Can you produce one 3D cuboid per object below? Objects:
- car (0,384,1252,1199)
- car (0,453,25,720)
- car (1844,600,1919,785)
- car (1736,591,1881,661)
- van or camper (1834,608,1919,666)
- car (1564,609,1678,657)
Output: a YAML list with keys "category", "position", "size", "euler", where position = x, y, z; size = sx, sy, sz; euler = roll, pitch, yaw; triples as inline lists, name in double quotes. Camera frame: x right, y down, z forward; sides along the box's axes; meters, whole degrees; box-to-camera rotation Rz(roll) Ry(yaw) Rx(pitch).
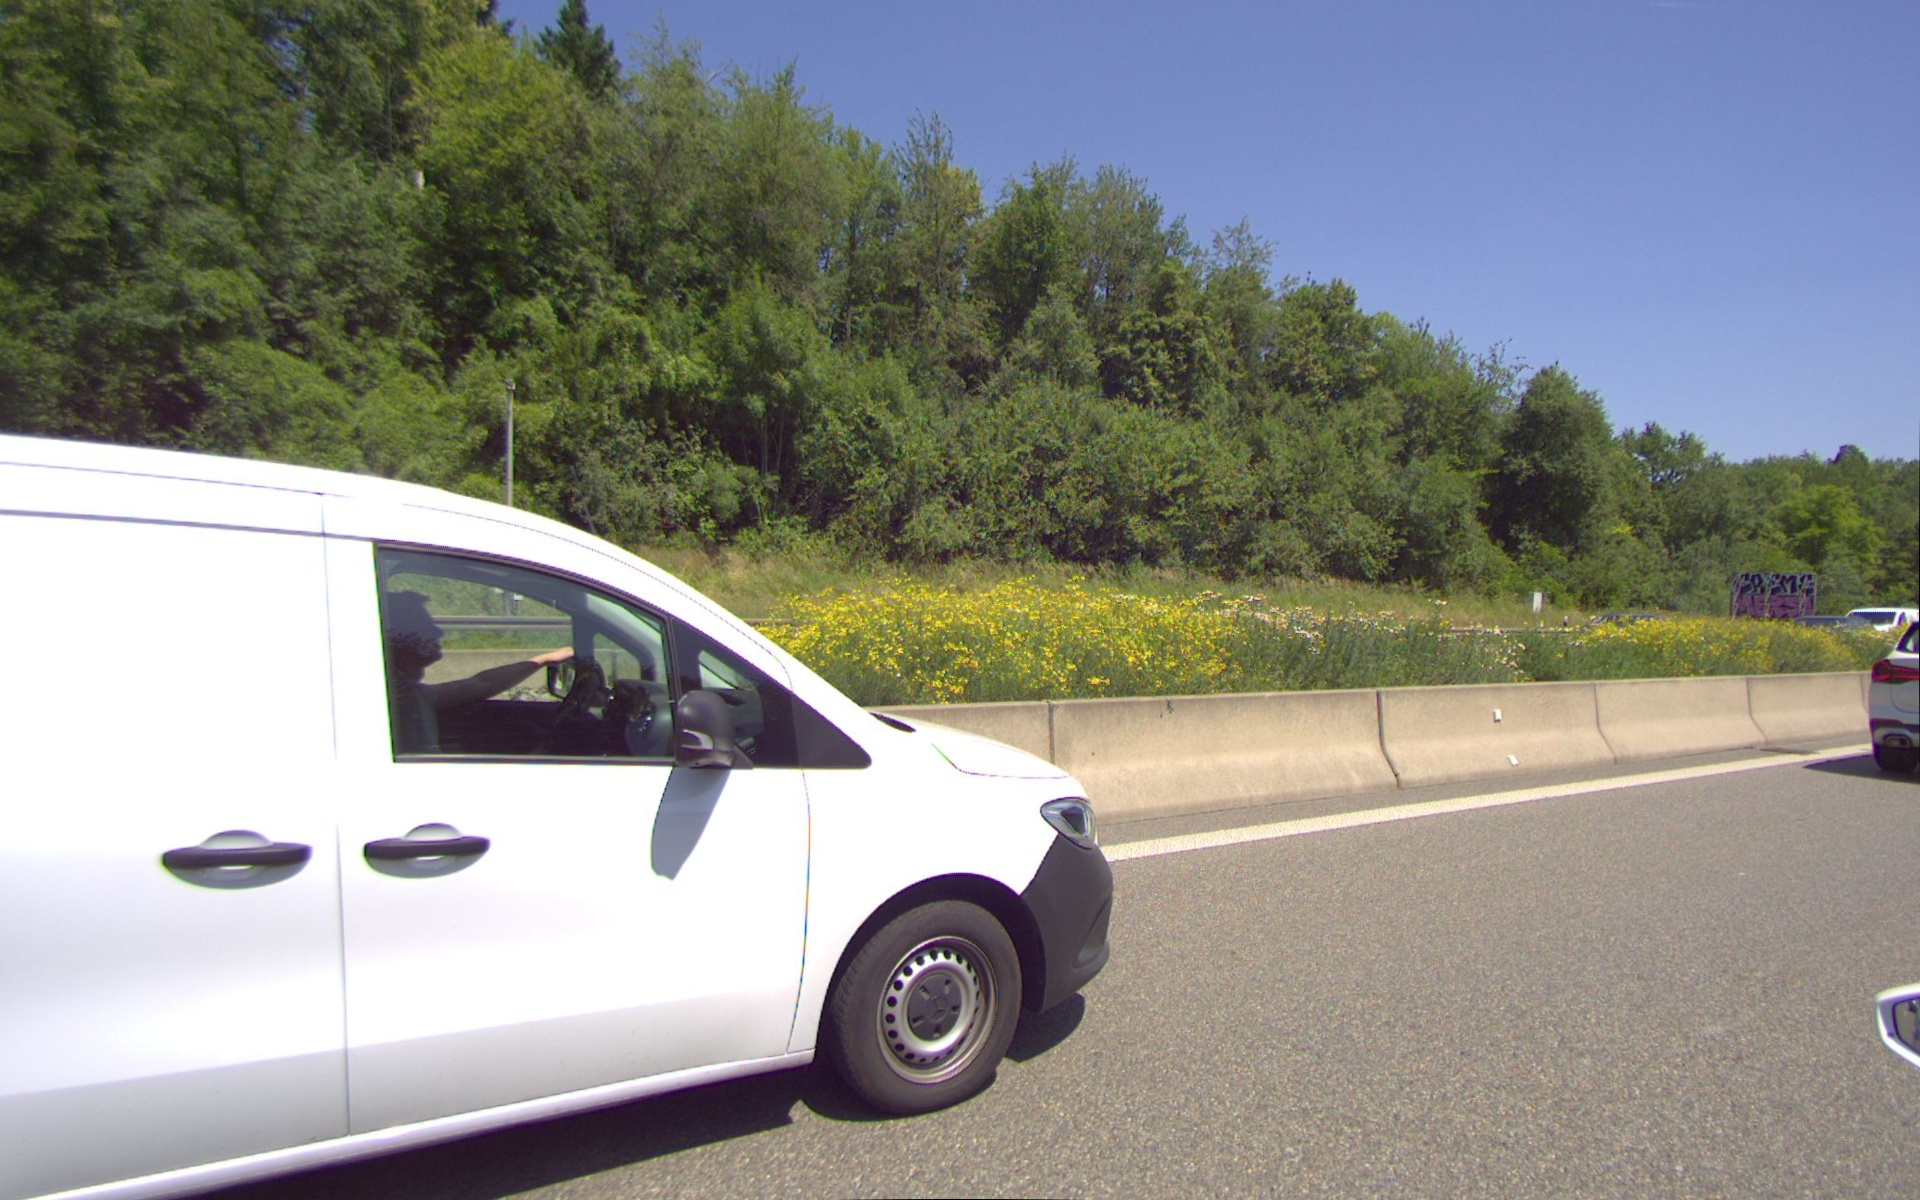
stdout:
- category: "car"
  position: [-1.446, 0.546, 3.025]
  size: [4.619, 1.837, 1.756]
  euler: [2, -1, -30]
- category: "car"
  position: [-12.282, -0.187, 8.730]
  size: [5.681, 2.778, 2.189]
  euler: [1, 0, -31]
- category: "car"
  position: [11.209, 0.926, 10.273]
  size: [4.899, 1.717, 1.855]
  euler: [2, -1, -31]
- category: "car"
  position: [22.428, 0.703, 26.518]
  size: [4.034, 1.686, 1.698]
  euler: [3, -1, -31]
- category: "van or camper"
  position: [34.560, 1.359, 37.517]
  size: [4.164, 2.039, 1.684]
  euler: [2, 0, -31]
- category: "car"
  position: [23.098, 1.146, 35.089]
  size: [3.954, 1.511, 1.767]
  euler: [3, -1, -31]
